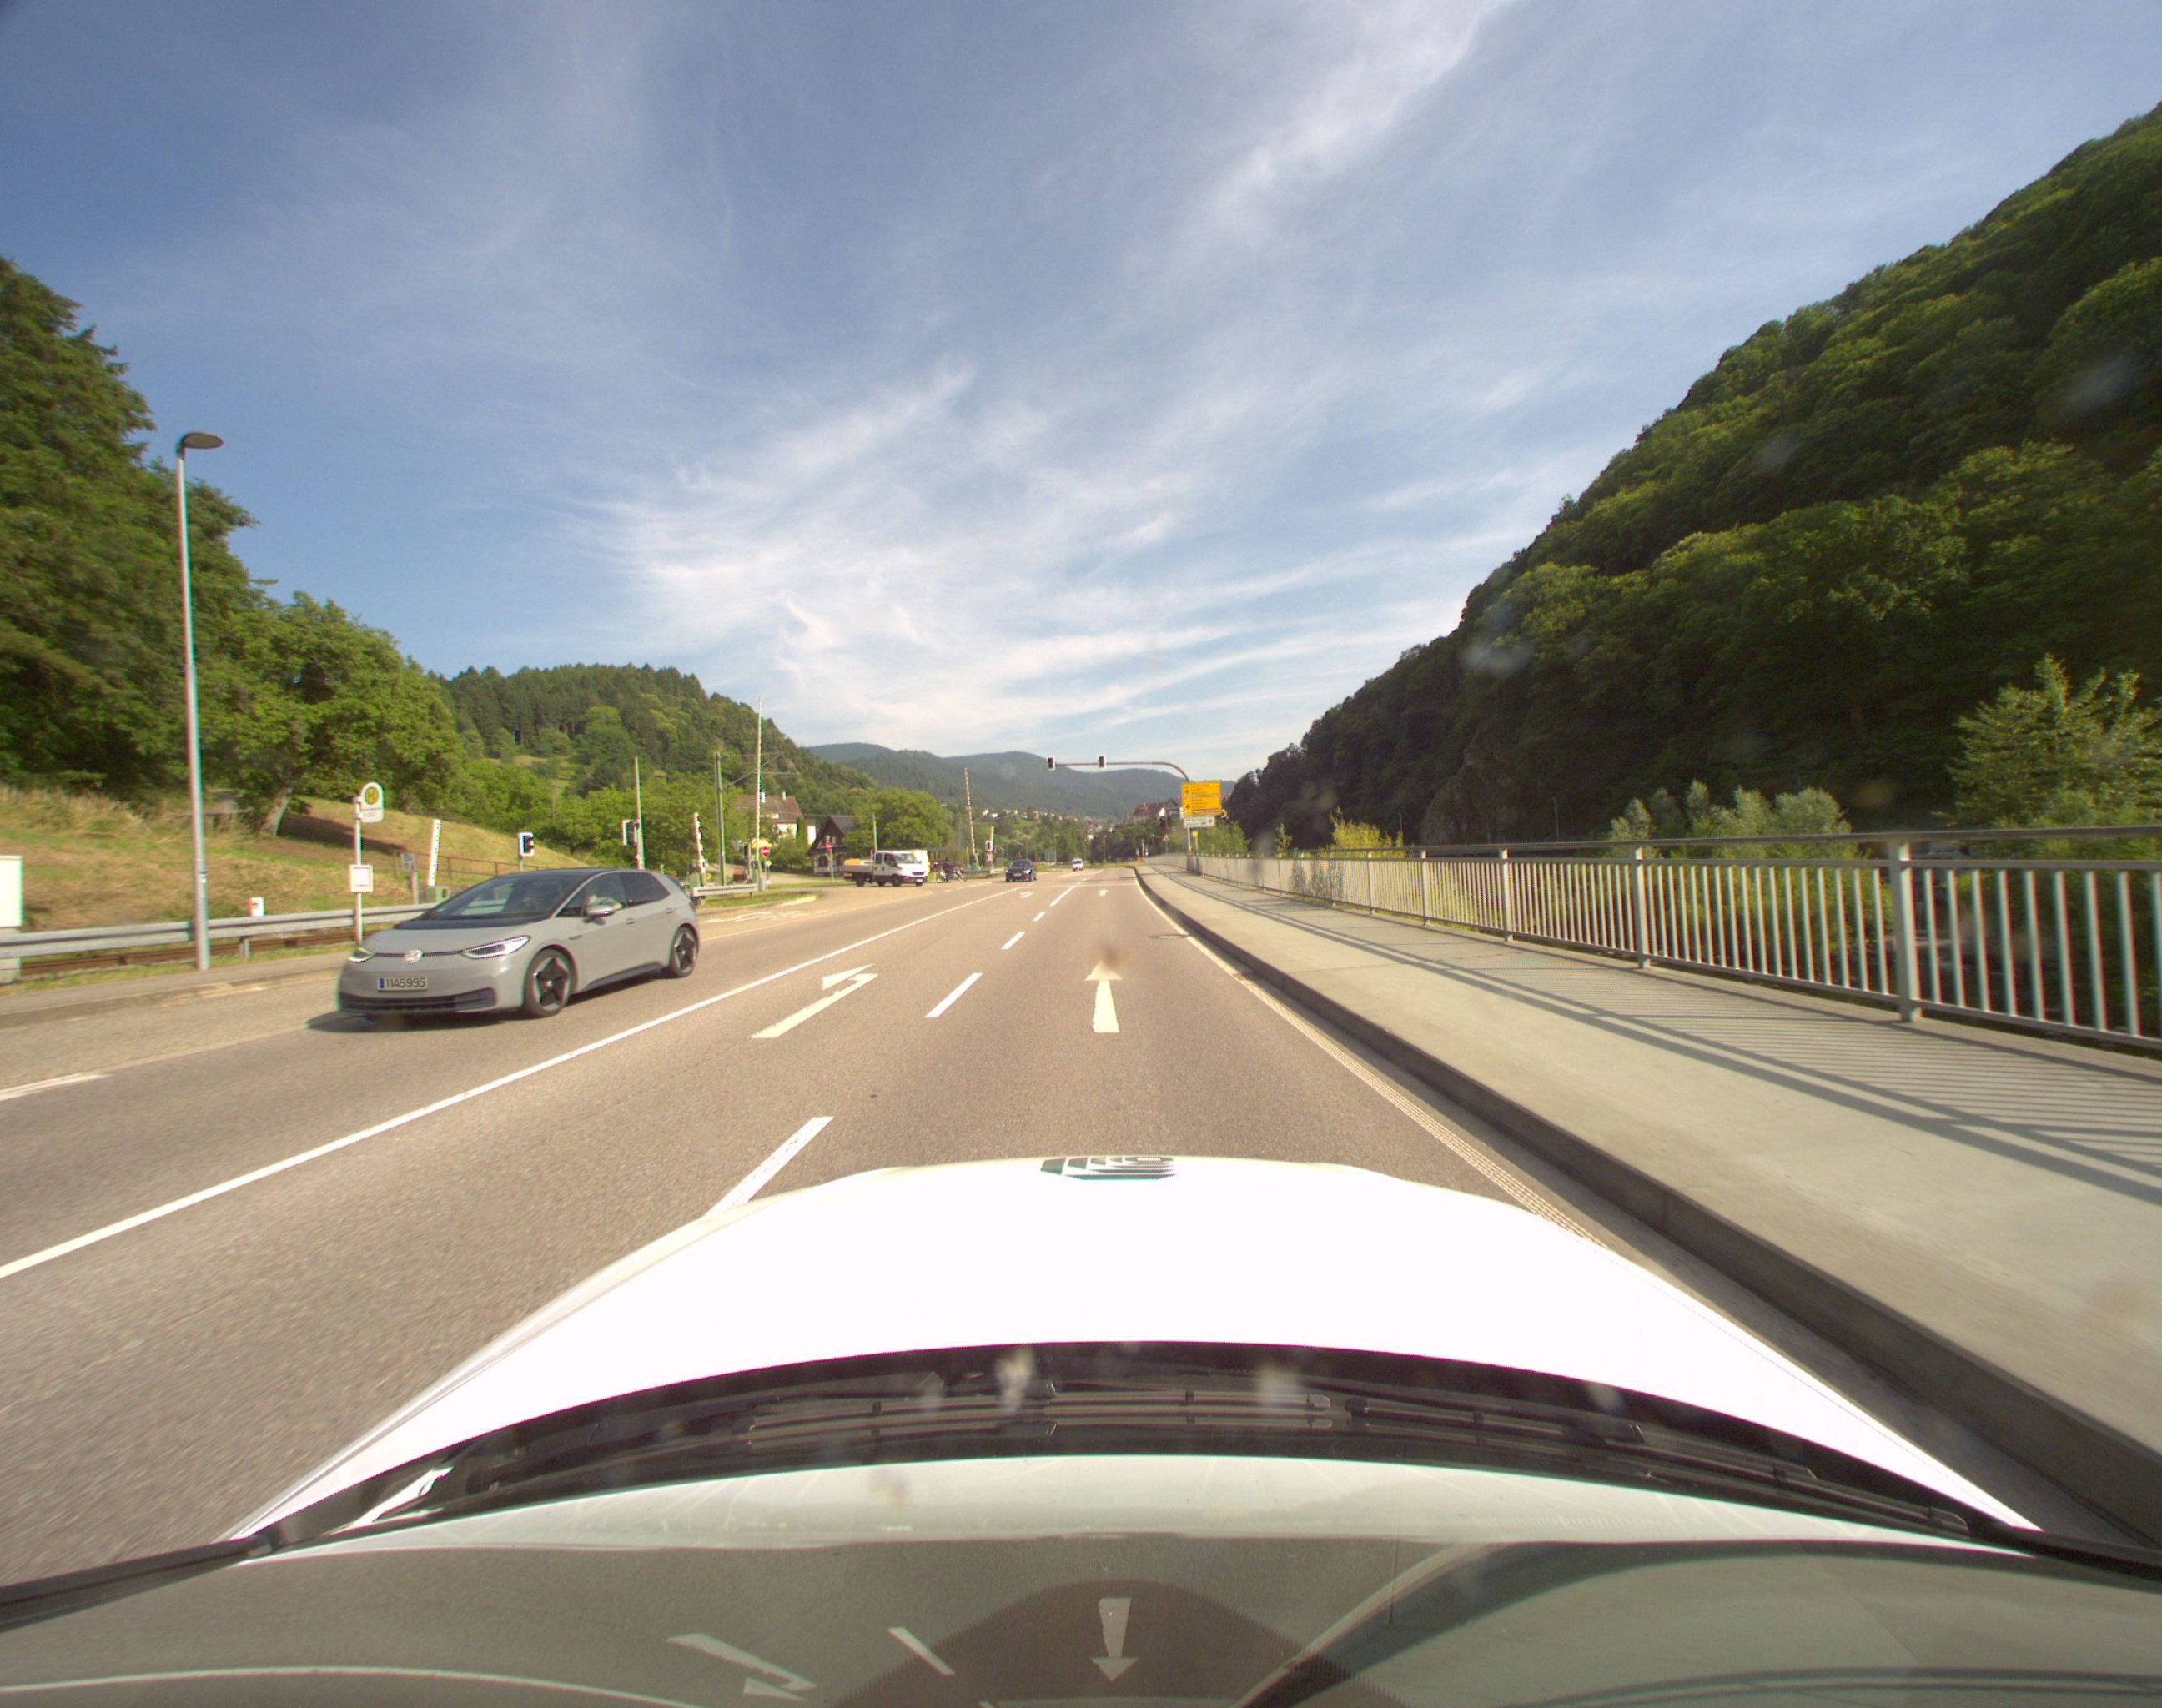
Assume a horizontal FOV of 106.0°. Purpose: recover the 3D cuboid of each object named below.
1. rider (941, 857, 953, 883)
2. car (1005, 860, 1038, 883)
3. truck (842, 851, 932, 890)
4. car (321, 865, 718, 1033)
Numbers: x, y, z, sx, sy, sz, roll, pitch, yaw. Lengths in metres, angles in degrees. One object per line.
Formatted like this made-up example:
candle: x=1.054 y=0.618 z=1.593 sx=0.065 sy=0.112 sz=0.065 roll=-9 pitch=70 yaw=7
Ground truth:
rider: x=-9.338 y=1.107 z=56.569 sx=0.753 sy=1.819 sz=0.739 roll=-1 pitch=0 yaw=-14
car: x=-3.923 y=1.147 z=54.175 sx=1.766 sy=1.416 sz=3.786 roll=-2 pitch=0 yaw=1
truck: x=-12.103 y=1.034 z=50.478 sx=5.925 sy=2.266 sz=2.013 roll=-2 pitch=-1 yaw=36
car: x=-6.283 y=0.930 z=9.845 sx=1.752 sy=1.521 sz=4.206 roll=-2 pitch=0 yaw=2
